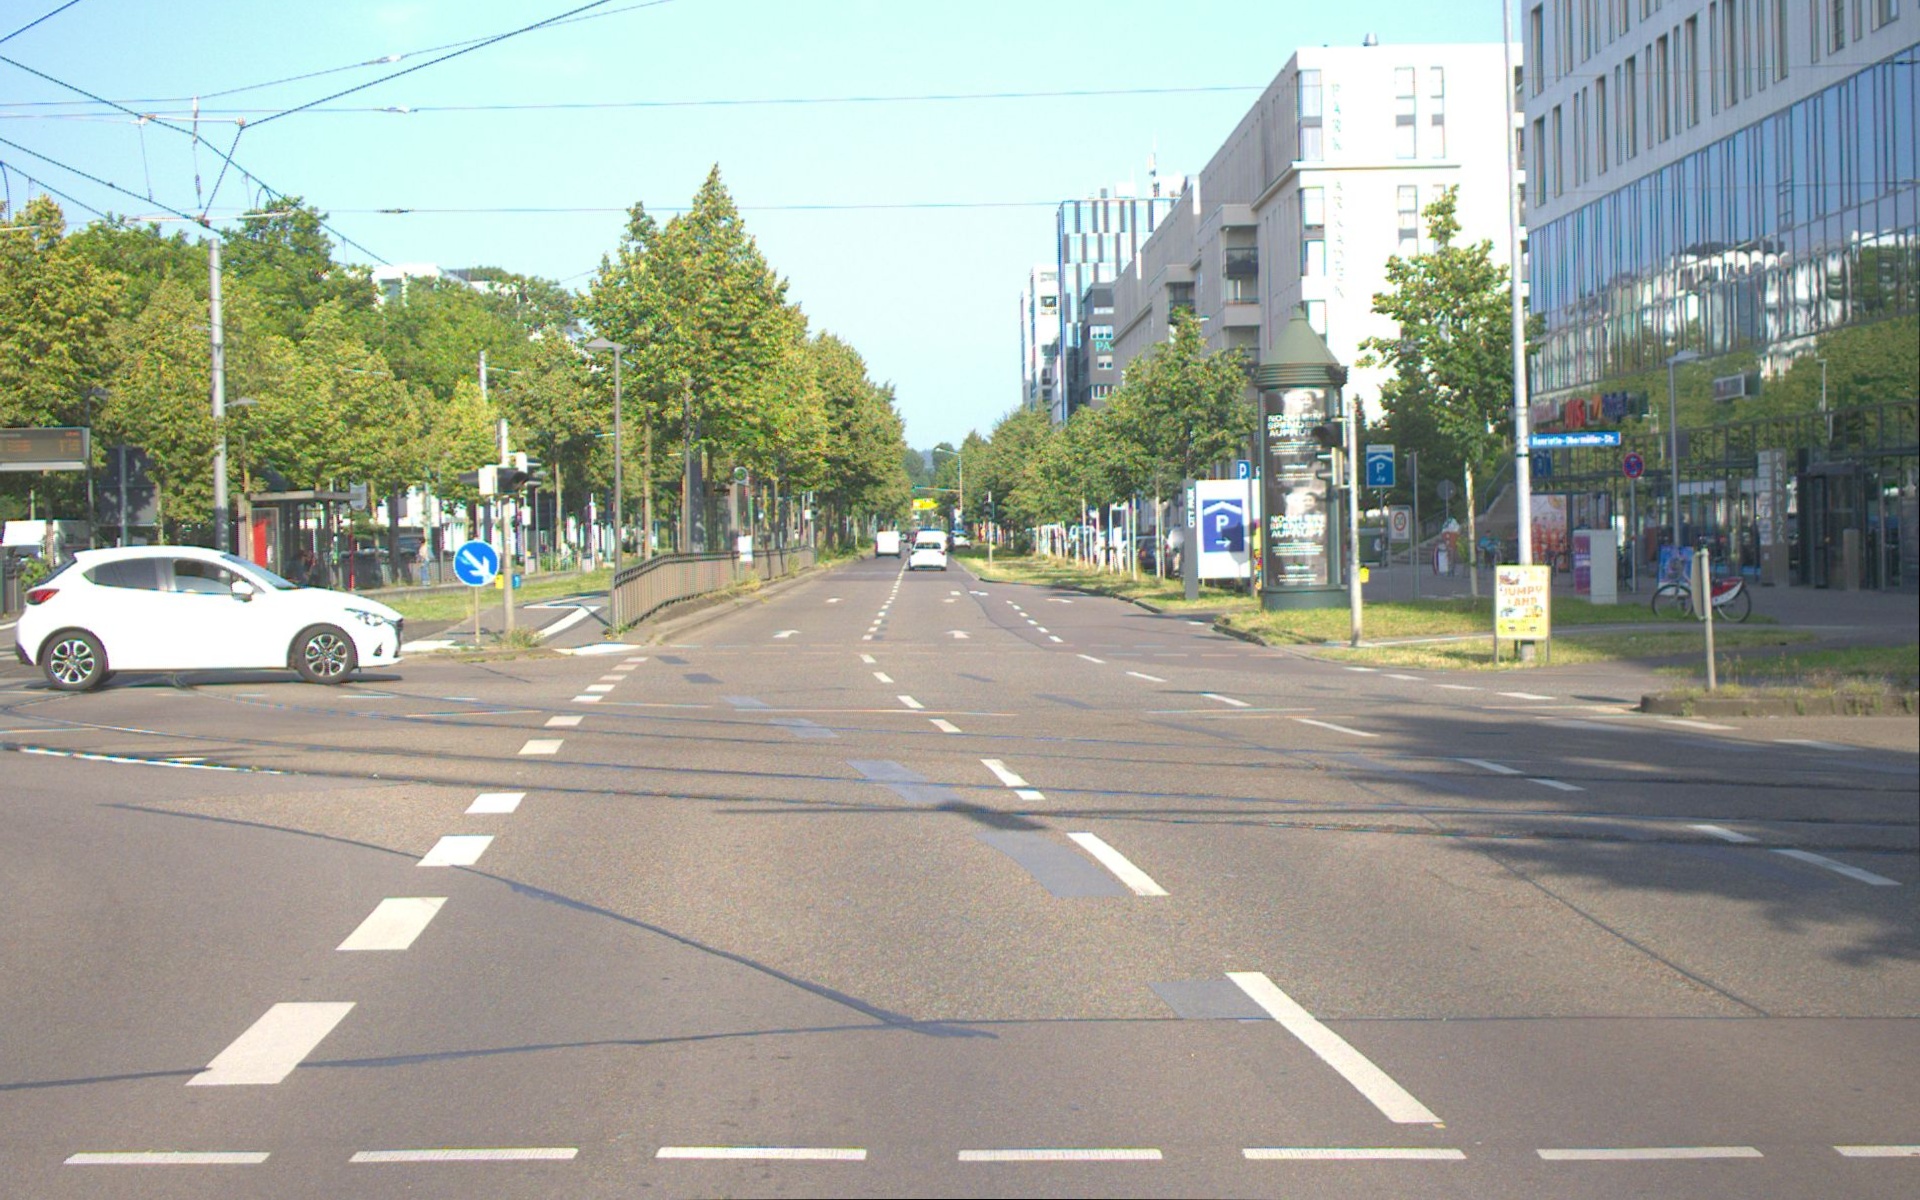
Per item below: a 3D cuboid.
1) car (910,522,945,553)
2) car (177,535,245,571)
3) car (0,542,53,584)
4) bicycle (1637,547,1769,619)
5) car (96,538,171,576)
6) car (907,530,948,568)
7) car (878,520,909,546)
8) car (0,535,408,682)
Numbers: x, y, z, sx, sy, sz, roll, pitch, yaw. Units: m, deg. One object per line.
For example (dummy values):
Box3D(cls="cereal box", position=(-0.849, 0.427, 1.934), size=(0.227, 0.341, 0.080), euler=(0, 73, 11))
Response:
Box3D(cls="car", position=(-1.803, -3.477, 191.704), size=(1.864, 1.678, 4.000), euler=(1, 2, 0))
Box3D(cls="car", position=(-33.940, -2.134, 155.945), size=(1.881, 1.554, 3.999), euler=(-1, 1, 5))
Box3D(cls="car", position=(-35.688, -1.382, 129.104), size=(1.881, 1.554, 3.999), euler=(-1, 1, 5))
Box3D(cls="bicycle", position=(11.449, -0.269, 53.013), size=(0.771, 1.028, 1.878), euler=(-2, 4, -44))
Box3D(cls="car", position=(-34.901, -1.831, 145.277), size=(1.881, 1.554, 3.999), euler=(-1, 1, 5))
Box3D(cls="car", position=(-1.492, -2.392, 158.992), size=(1.864, 1.678, 4.000), euler=(1, 2, 0))
Box3D(cls="car", position=(-4.502, -4.568, 232.988), size=(2.014, 1.678, 4.000), euler=(1, 2, 0))
Box3D(cls="car", position=(-8.057, 0.078, 36.749), size=(4.079, 1.499, 2.000), euler=(0, 1, -3))
